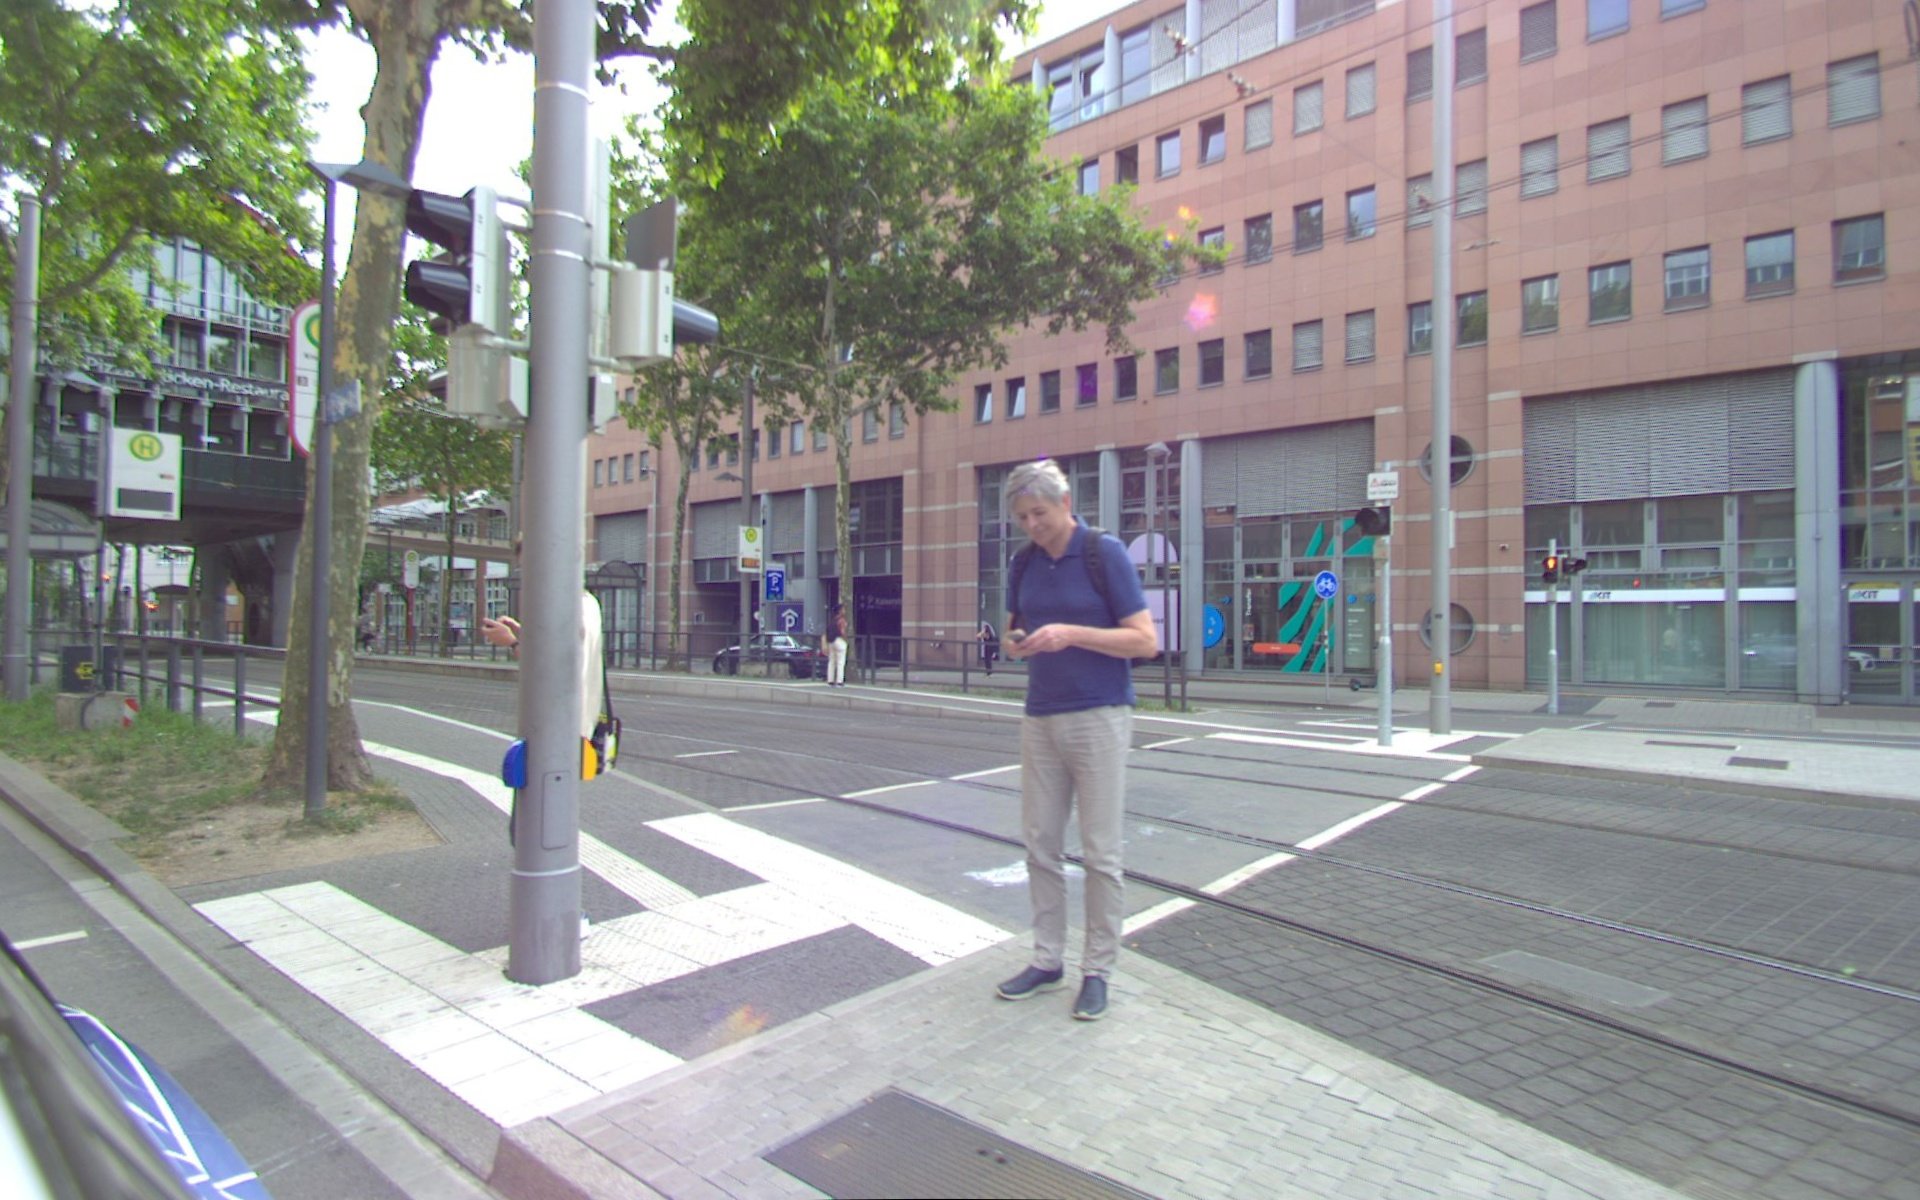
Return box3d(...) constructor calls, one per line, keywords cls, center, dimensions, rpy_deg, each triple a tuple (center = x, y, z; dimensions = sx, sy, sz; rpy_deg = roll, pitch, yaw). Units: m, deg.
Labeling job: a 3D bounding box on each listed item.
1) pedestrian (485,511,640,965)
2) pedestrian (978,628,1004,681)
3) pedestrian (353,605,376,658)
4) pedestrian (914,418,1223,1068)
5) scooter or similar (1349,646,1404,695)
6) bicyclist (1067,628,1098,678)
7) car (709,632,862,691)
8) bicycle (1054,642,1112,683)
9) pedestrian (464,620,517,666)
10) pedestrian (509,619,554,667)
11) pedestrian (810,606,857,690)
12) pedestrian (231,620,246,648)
box3d(cls="pedestrian", center=(-1.742, 0.556, 4.418), dimensions=(0.526, 1.805, 0.579), rpy_deg=(1, -2, -29))
box3d(cls="pedestrian", center=(0.950, 1.671, 31.050), dimensions=(0.600, 1.585, 0.522), rpy_deg=(-1, -3, 41))
box3d(cls="pedestrian", center=(-20.330, 1.081, 34.553), dimensions=(0.480, 1.784, 0.476), rpy_deg=(-1, -2, 33))
box3d(cls="pedestrian", center=(0.374, 0.423, 3.479), dimensions=(0.806, 1.889, 0.684), rpy_deg=(-1, -3, 41))
box3d(cls="scooter or similar", center=(10.034, 1.685, 24.371), dimensions=(1.111, 1.142, 0.513), rpy_deg=(-1, -2, 41))
box3d(cls="bicyclist", center=(3.531, 1.519, 29.122), dimensions=(0.735, 1.391, 0.547), rpy_deg=(0, -2, 29))
box3d(cls="car", center=(-4.875, 1.640, 28.021), dimensions=(4.292, 1.484, 1.844), rpy_deg=(-1, -2, 40))
box3d(cls="bicycle", center=(3.536, 1.786, 29.114), dimensions=(1.582, 1.126, 0.542), rpy_deg=(0, -2, 29))
box3d(cls="pedestrian", center=(-21.921, 1.970, 47.247), dimensions=(2.035, 2.029, 1.672), rpy_deg=(-1, 0, 45))
box3d(cls="pedestrian", center=(-18.879, 1.868, 44.617), dimensions=(1.409, 2.029, 1.361), rpy_deg=(-1, 0, -45))
box3d(cls="pedestrian", center=(-2.402, 0.893, 19.263), dimensions=(0.558, 1.549, 0.650), rpy_deg=(2, -1, 37))
box3d(cls="pedestrian", center=(-52.866, 2.500, 74.123), dimensions=(0.773, 2.029, 0.707), rpy_deg=(-1, 0, 41))
